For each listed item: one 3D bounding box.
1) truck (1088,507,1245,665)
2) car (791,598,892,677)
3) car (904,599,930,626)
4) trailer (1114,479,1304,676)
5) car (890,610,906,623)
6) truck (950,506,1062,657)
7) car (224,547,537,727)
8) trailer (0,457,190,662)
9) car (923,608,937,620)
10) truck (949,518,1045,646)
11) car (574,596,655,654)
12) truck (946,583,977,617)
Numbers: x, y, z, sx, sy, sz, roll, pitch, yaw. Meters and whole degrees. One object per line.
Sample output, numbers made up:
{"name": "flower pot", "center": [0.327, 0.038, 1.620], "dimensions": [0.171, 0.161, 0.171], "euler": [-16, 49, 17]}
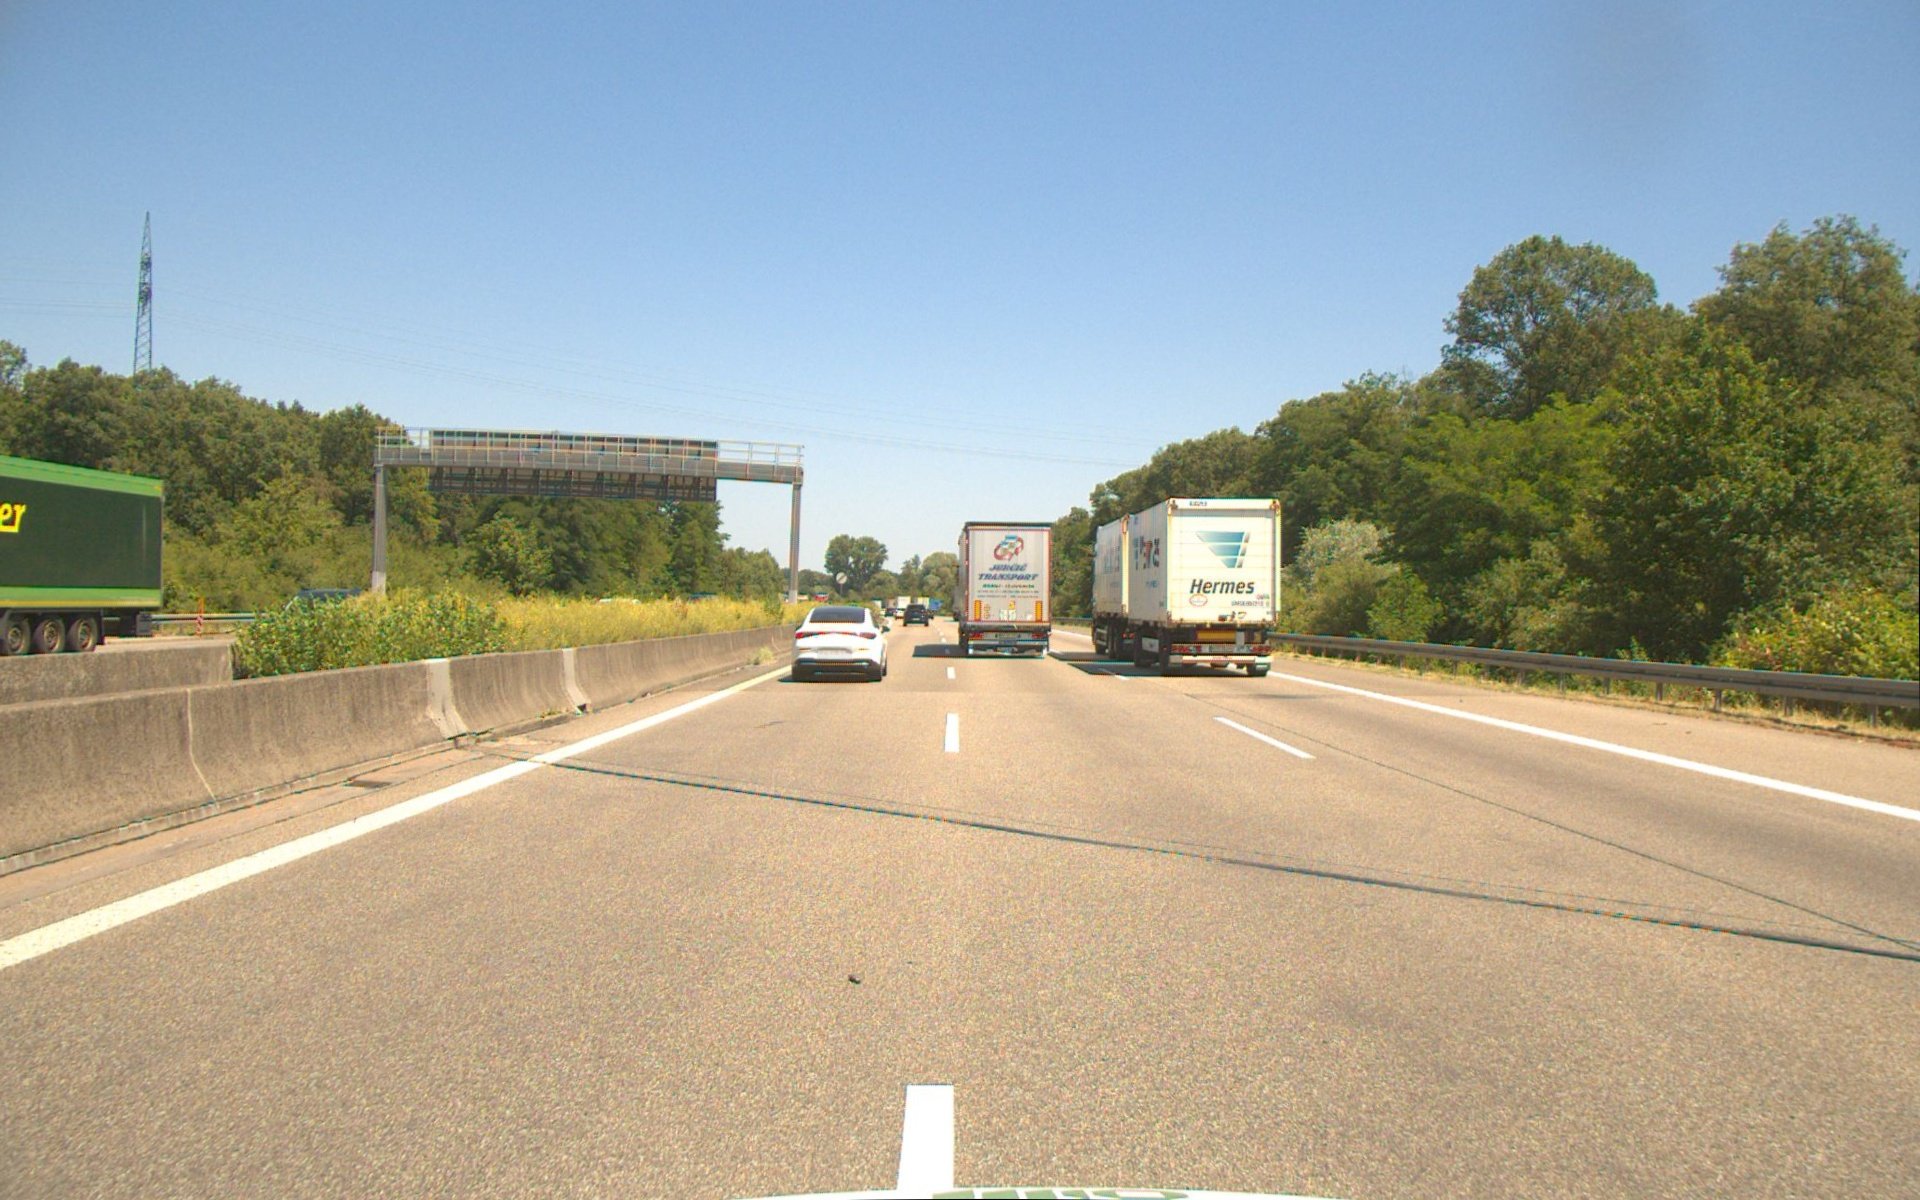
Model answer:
{"name": "truck", "center": [5.869, -0.443, 49.060], "dimensions": [3.257, 4.123, 10.954], "euler": [1, 1, 0]}
{"name": "car", "center": [-2.382, 0.724, 34.299], "dimensions": [1.731, 1.473, 5.108], "euler": [1, 0, 0]}
{"name": "car", "center": [-3.345, 0.962, 128.069], "dimensions": [1.953, 1.907, 4.000], "euler": [1, 1, -1]}
{"name": "trailer", "center": [5.802, -0.449, 40.299], "dimensions": [3.298, 4.215, 9.091], "euler": [1, 0, 0]}
{"name": "car", "center": [-7.970, 2.100, 213.789], "dimensions": [1.953, 1.624, 3.999], "euler": [0, 0, -1]}
{"name": "truck", "center": [1.317, -0.547, 51.780], "dimensions": [3.163, 4.275, 8.465], "euler": [1, 0, 0]}
{"name": "car", "center": [-7.267, 0.421, 21.374], "dimensions": [2.244, 2.049, 4.712], "euler": [1, 0, 2]}
{"name": "trailer", "center": [-19.860, -0.790, 33.609], "dimensions": [2.864, 3.930, 11.866], "euler": [1, 0, 0]}
{"name": "car", "center": [-4.300, 1.981, 237.361], "dimensions": [1.953, 1.624, 3.999], "euler": [0, 0, -1]}
{"name": "truck", "center": [1.227, -0.585, 58.972], "dimensions": [3.153, 4.279, 6.549], "euler": [0, 0, -1]}
{"name": "car", "center": [-11.749, 0.822, 56.441], "dimensions": [1.953, 1.872, 4.073], "euler": [1, 0, -1]}
{"name": "truck", "center": [0.131, 0.017, 201.612], "dimensions": [3.375, 4.059, 9.511], "euler": [0, 0, -2]}
